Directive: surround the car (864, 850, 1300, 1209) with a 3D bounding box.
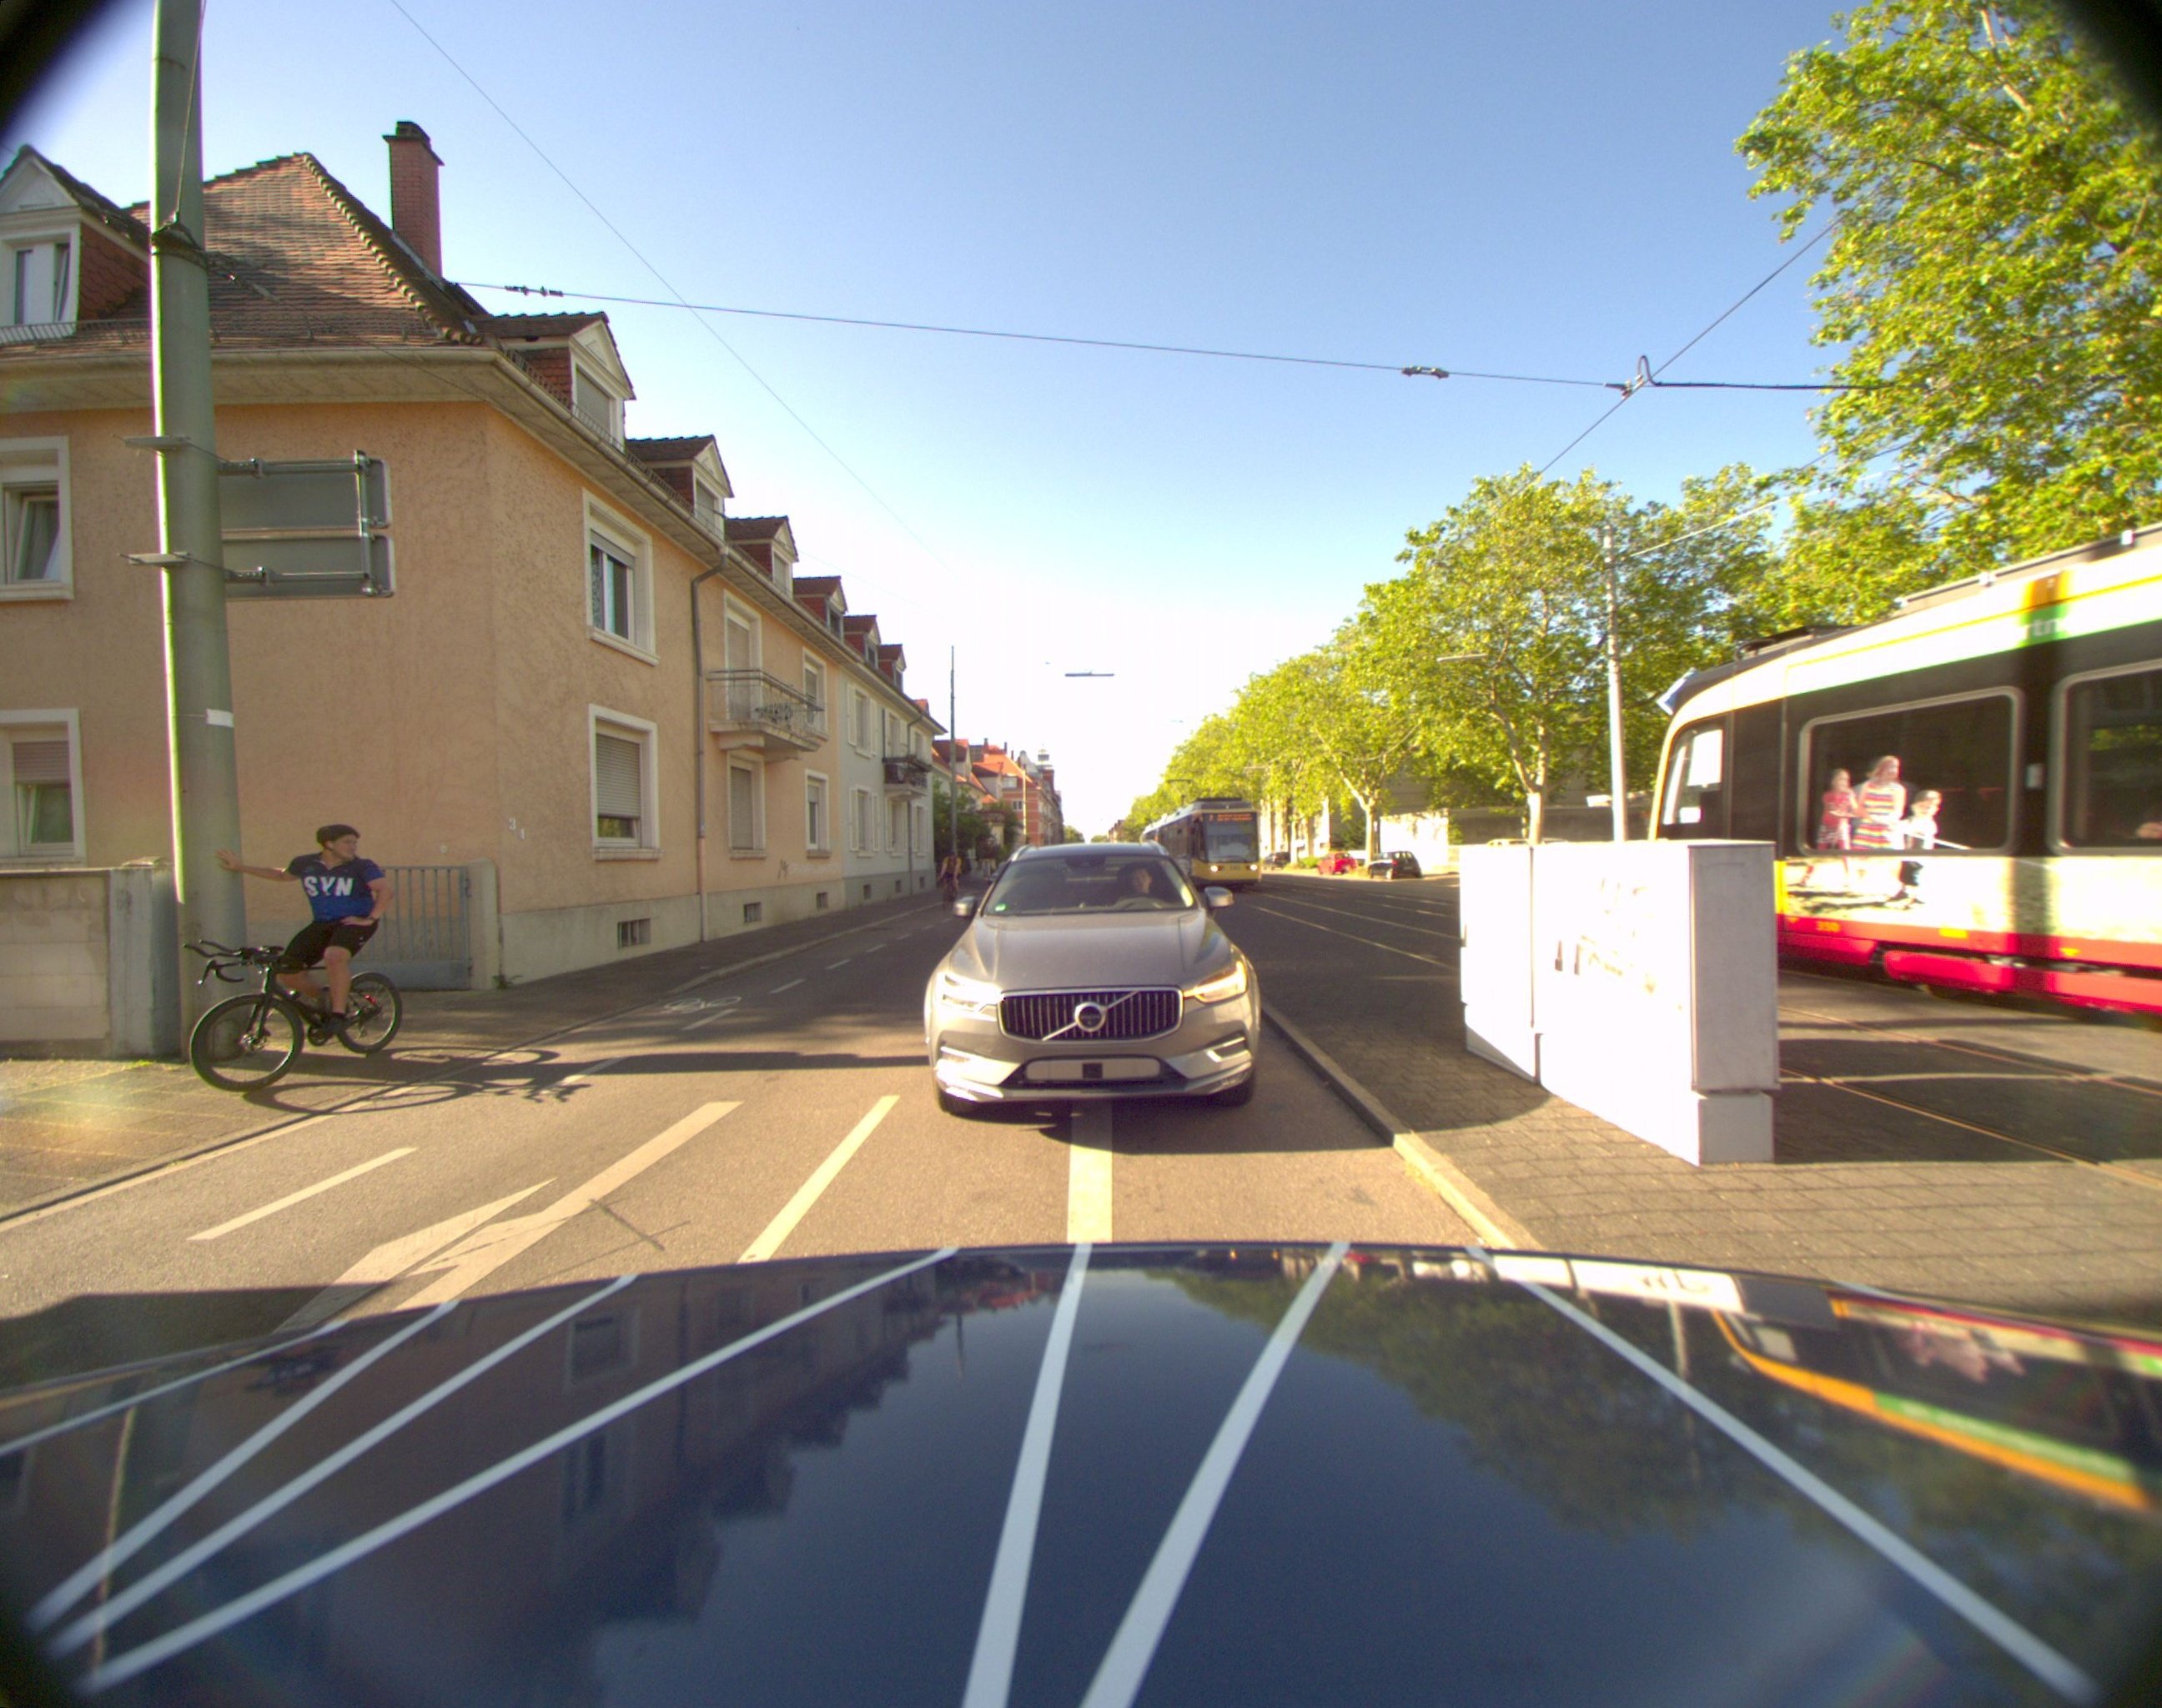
[{"bbox_3d":[0.036,0.828,5.753,1.998,1.628,4.306,-2,0,1],"label":"car"}]

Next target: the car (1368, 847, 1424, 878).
[{"bbox_3d":[16.891,0.420,40.895,1.599,1.498,3.304,-3,0,1],"label":"car"}]

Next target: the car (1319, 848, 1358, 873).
[{"bbox_3d":[16.883,0.428,49.866,1.599,1.498,2.622,-3,0,1],"label":"car"}]

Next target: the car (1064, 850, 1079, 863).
[{"bbox_3d":[-1.287,0.366,107.102,1.793,1.673,3.814,-3,0,2],"label":"car"}]

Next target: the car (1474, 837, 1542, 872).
[{"bbox_3d":[21.552,0.006,38.473,1.599,1.606,3.304,-2,0,1],"label":"car"}]

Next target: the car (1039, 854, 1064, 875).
[{"bbox_3d":[-2.545,0.861,67.074,1.793,1.673,3.814,-3,0,2],"label":"car"}]

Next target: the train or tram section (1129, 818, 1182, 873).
[{"bbox_3d":[5.417,-0.600,57.547,2.717,3.643,12.653,-1,0,0],"label":"train or tram section"}]

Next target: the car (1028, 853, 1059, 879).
[{"bbox_3d":[-2.626,0.837,54.004,1.793,1.673,3.814,-3,0,2],"label":"car"}]

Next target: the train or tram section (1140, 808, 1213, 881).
[{"bbox_3d":[5.339,-0.531,44.894,2.717,3.643,12.653,-1,0,0],"label":"train or tram section"}]

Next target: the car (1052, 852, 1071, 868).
[{"bbox_3d":[-2.145,0.636,85.369,1.793,1.673,3.814,-3,0,2],"label":"car"}]

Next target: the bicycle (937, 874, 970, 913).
[{"bbox_3d":[-3.991,1.213,23.889,0.685,1.098,1.806,-2,1,1],"label":"bicycle"}]

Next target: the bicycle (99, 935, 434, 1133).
[{"bbox_3d":[-6.039,1.266,5.816,0.592,1.062,1.775,4,0,1],"label":"bicycle"}]

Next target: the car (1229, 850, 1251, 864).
[{"bbox_3d":[17.469,0.286,83.543,1.695,1.440,3.749,-3,0,1],"label":"car"}]

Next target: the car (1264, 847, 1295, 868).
[{"bbox_3d":[17.143,0.267,65.888,1.695,1.648,3.749,-3,0,1],"label":"car"}]

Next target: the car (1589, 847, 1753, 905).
[{"bbox_3d":[16.417,0.554,21.416,1.695,1.395,3.749,-3,0,1],"label":"car"}]

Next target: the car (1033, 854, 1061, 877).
[{"bbox_3d":[-2.714,0.888,61.029,1.793,1.673,3.814,-3,0,2],"label":"car"}]

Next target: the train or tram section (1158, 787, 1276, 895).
[{"bbox_3d":[5.288,-0.481,32.267,2.717,3.643,12.653,-1,0,0],"label":"train or tram section"}]

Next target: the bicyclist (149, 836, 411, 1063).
[{"bbox_3d":[-6.239,0.697,5.989,1.051,1.599,0.885,4,0,1],"label":"bicyclist"}]

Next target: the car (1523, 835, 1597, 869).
[{"bbox_3d":[23.885,-0.091,38.025,1.599,1.583,3.304,-2,0,1],"label":"car"}]

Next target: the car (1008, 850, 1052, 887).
[{"bbox_3d":[-2.818,0.743,42.819,1.793,1.828,5.149,-3,0,2],"label":"car"}]

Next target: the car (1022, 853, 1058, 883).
[{"bbox_3d":[-2.579,0.856,48.484,1.793,1.673,3.814,-3,0,2],"label":"car"}]

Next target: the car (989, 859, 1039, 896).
[{"bbox_3d":[-3.216,1.086,37.046,1.695,1.571,3.815,-3,0,5],"label":"car"}]

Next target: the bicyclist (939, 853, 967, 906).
[{"bbox_3d":[-4.003,0.789,23.810,0.685,1.611,0.855,-2,1,1],"label":"bicyclist"}]

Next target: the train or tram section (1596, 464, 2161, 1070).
[{"bbox_3d":[8.386,-0.562,3.018,2.940,3.791,13.047,-1,0,-5],"label":"train or tram section"}]
